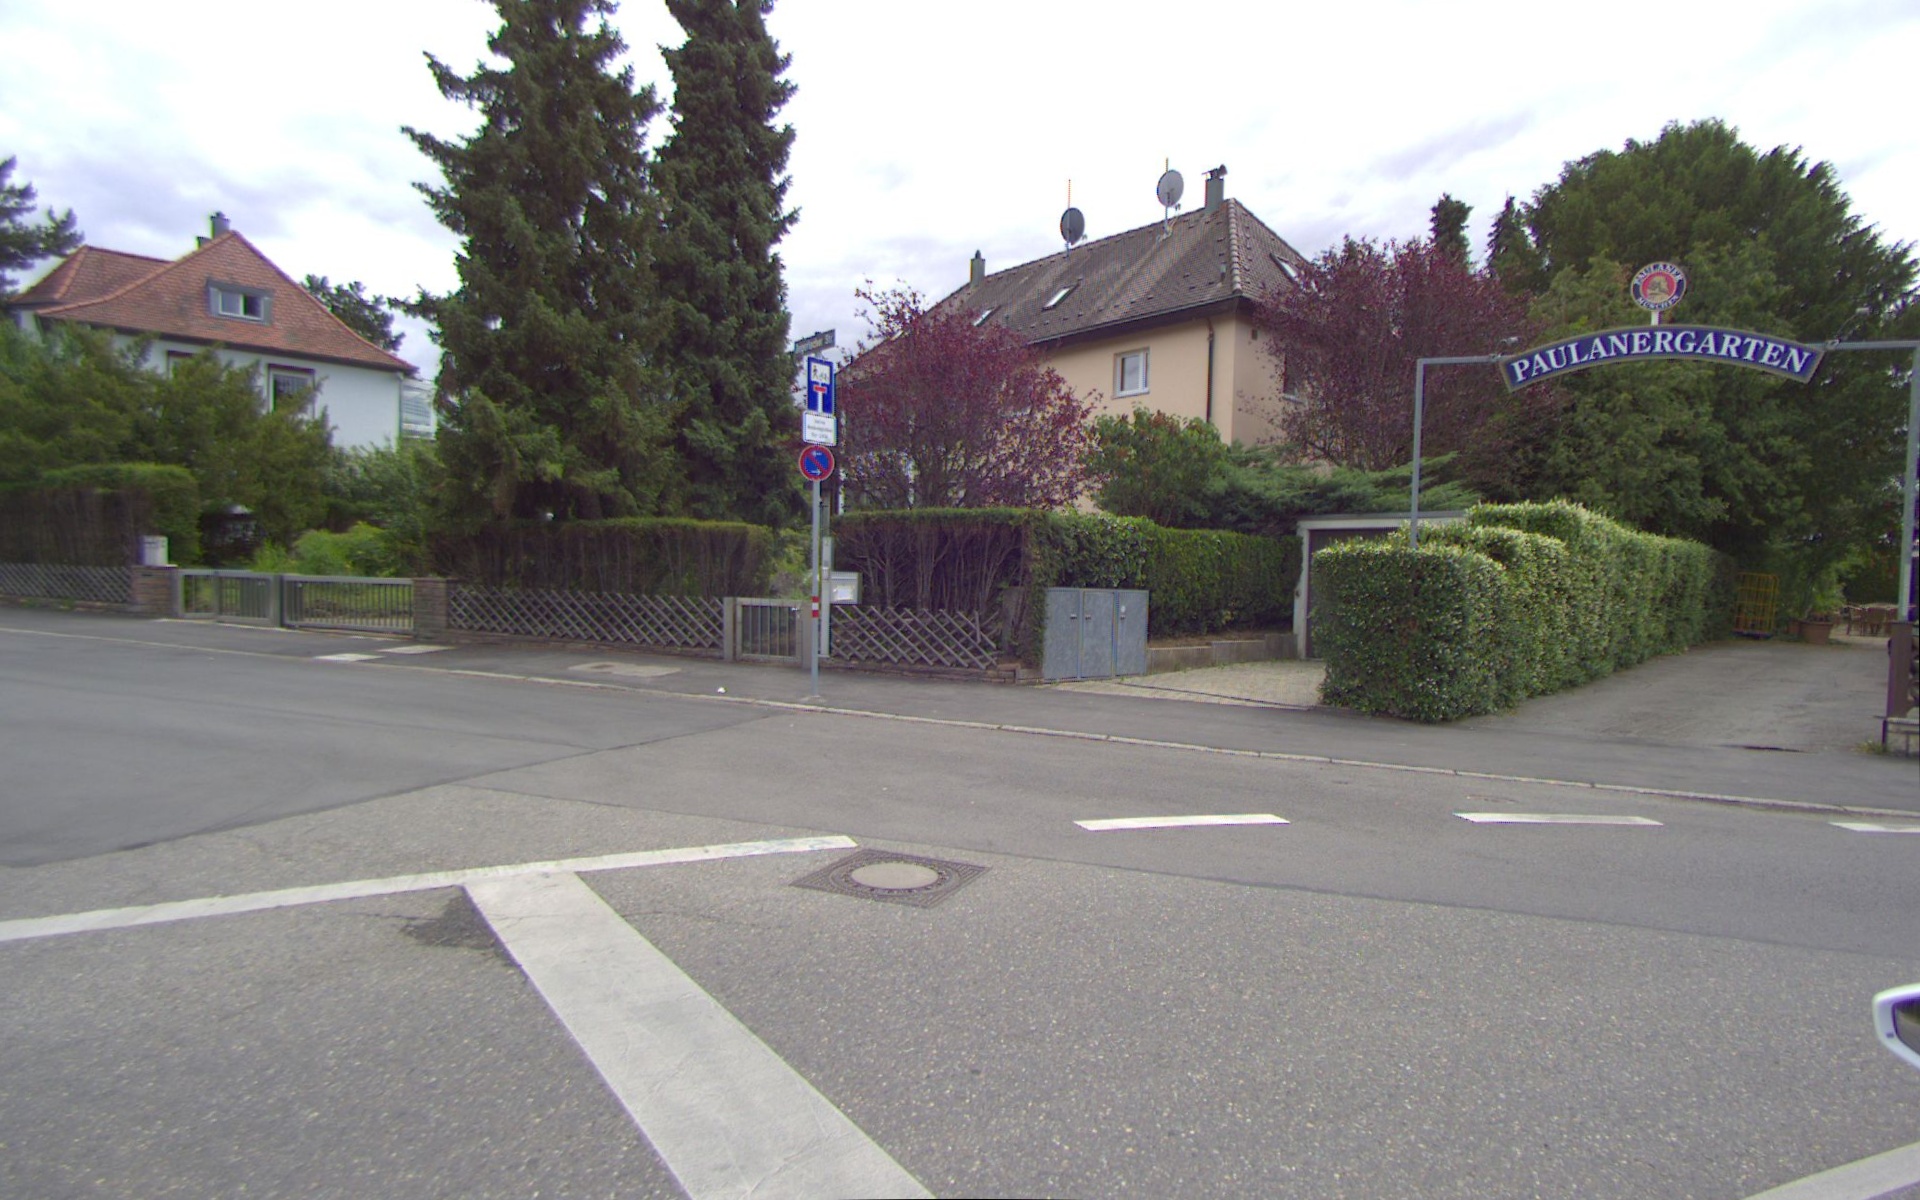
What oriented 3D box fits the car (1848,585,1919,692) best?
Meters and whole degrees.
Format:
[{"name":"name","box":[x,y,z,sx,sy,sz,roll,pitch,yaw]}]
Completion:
[{"name":"car","box":[15.533,0.557,14.507,3.605,1.447,1.727,1,4,15]}]
